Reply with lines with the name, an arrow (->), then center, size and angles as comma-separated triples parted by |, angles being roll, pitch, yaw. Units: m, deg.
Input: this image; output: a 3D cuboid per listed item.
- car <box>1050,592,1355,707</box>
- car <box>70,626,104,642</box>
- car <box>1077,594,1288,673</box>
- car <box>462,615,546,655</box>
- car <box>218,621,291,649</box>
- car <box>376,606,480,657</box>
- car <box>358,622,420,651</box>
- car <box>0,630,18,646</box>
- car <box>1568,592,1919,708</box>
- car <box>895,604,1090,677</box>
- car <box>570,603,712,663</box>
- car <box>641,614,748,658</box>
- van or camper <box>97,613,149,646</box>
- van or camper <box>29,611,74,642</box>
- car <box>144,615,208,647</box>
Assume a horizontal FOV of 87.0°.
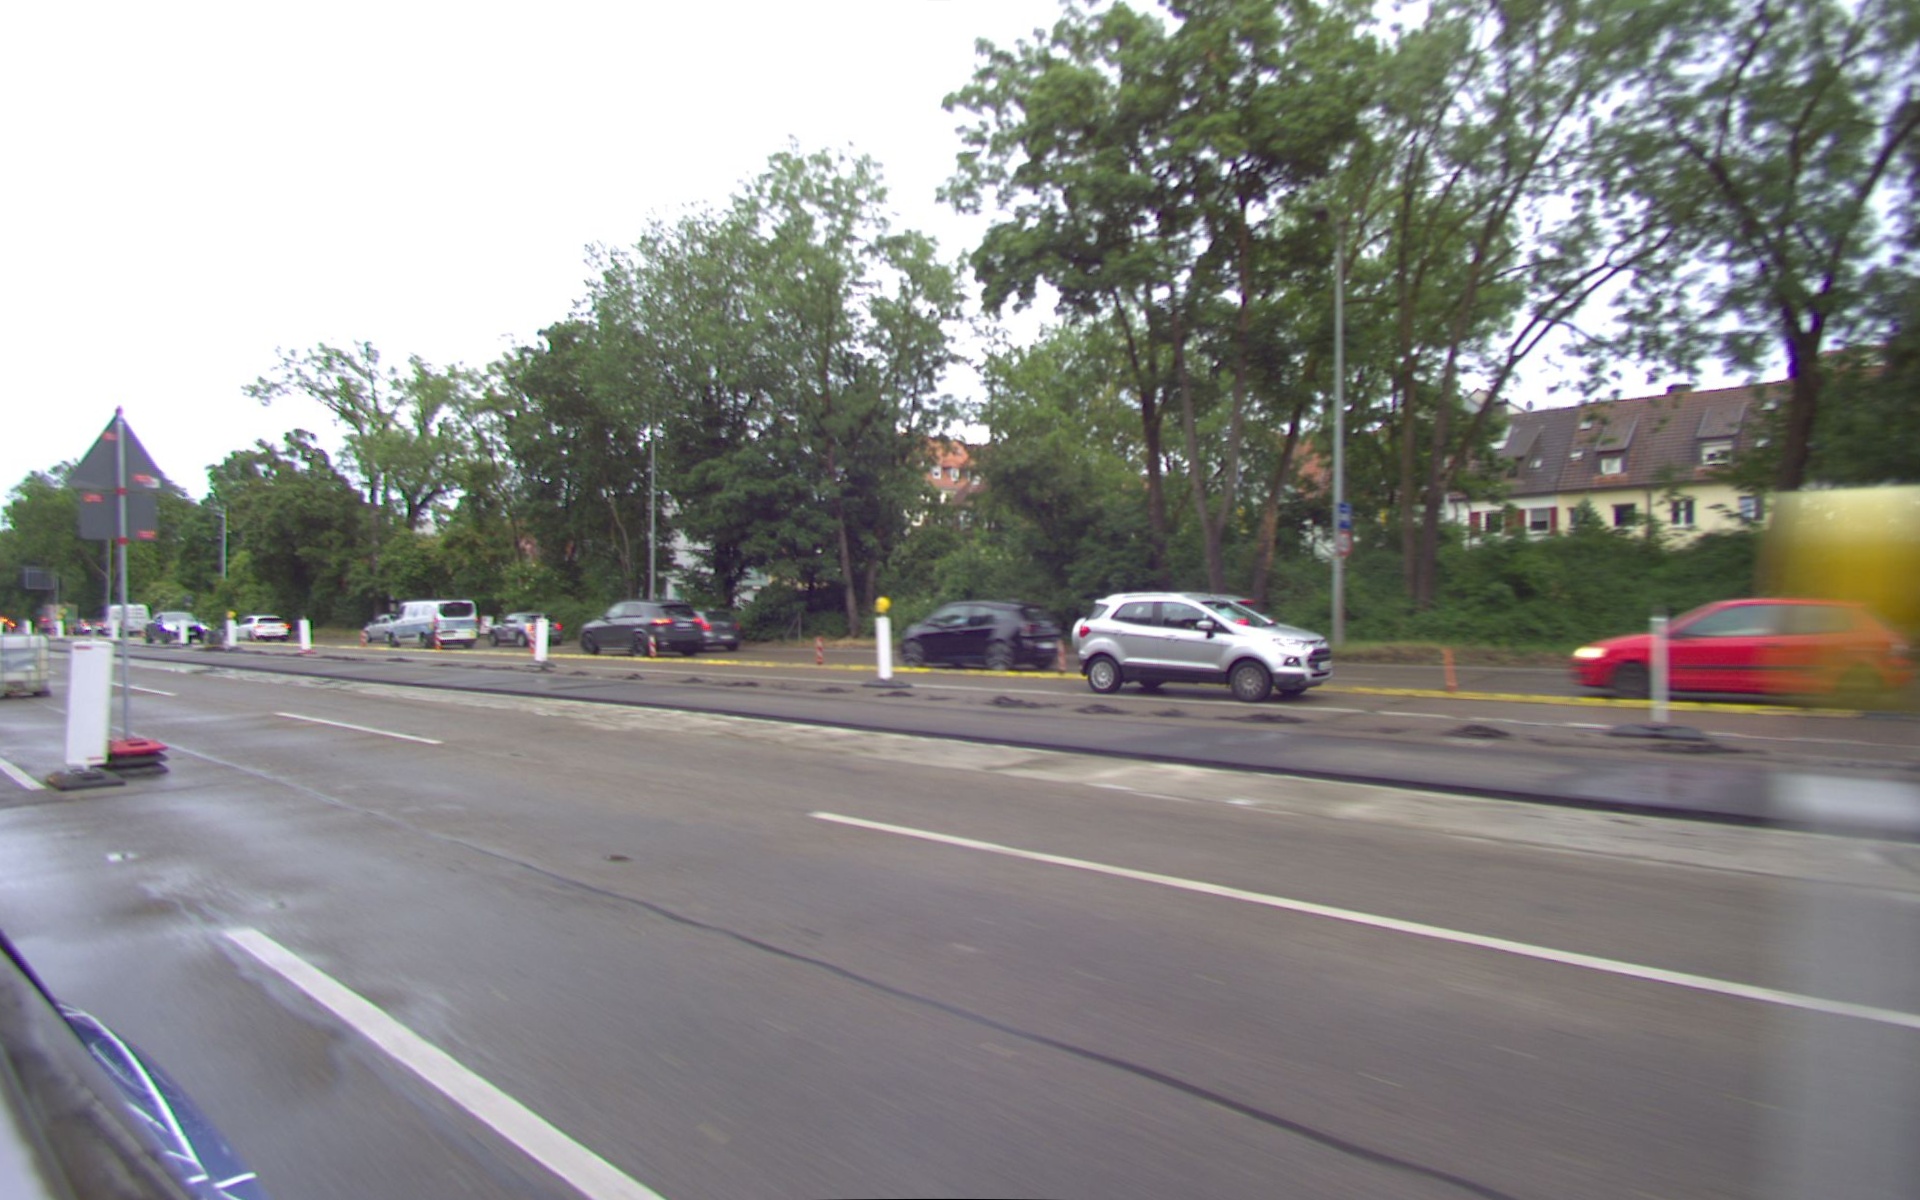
car -> 3.761, 0.724, 16.157 | 4.362, 1.576, 1.869 | -2, 0, 42
car -> -79.602, 3.083, 92.286 | 4.078, 1.375, 1.698 | -1, -2, 40
car -> 4.985, 0.724, 23.048 | 4.415, 1.639, 1.685 | -1, -1, 40
car -> -19.845, 1.498, 43.987 | 3.997, 1.634, 1.809 | -1, 0, 40
car -> -38.936, 1.913, 55.831 | 4.385, 1.426, 1.975 | 0, -1, 37
car -> -22.001, 1.272, 41.782 | 4.896, 1.987, 1.974 | -1, -1, 38
car -> -29.043, 1.831, 51.453 | 3.637, 1.411, 1.662 | -1, -1, 41
car -> -106.079, 4.201, 112.066 | 4.802, 1.706, 1.974 | -1, -1, 39
car -> 10.941, 0.637, 14.102 | 4.010, 1.411, 1.662 | -1, -1, 41
car -> 0.673, 0.879, 22.868 | 4.192, 1.499, 1.759 | -1, -1, 39
car -> -10.208, 1.029, 32.180 | 5.009, 1.738, 2.000 | -1, -1, 41
car -> -9.246, 1.214, 35.136 | 3.998, 1.431, 1.628 | -1, -1, 41
van or camper -> -70.183, 2.472, 84.774 | 7.723, 2.574, 1.973 | -1, 0, 40
van or camper -> -93.773, 2.766, 104.432 | 7.443, 3.086, 2.275 | -2, -2, 39
car -> -42.228, 1.655, 54.485 | 4.811, 1.641, 1.972 | -1, -1, 43
